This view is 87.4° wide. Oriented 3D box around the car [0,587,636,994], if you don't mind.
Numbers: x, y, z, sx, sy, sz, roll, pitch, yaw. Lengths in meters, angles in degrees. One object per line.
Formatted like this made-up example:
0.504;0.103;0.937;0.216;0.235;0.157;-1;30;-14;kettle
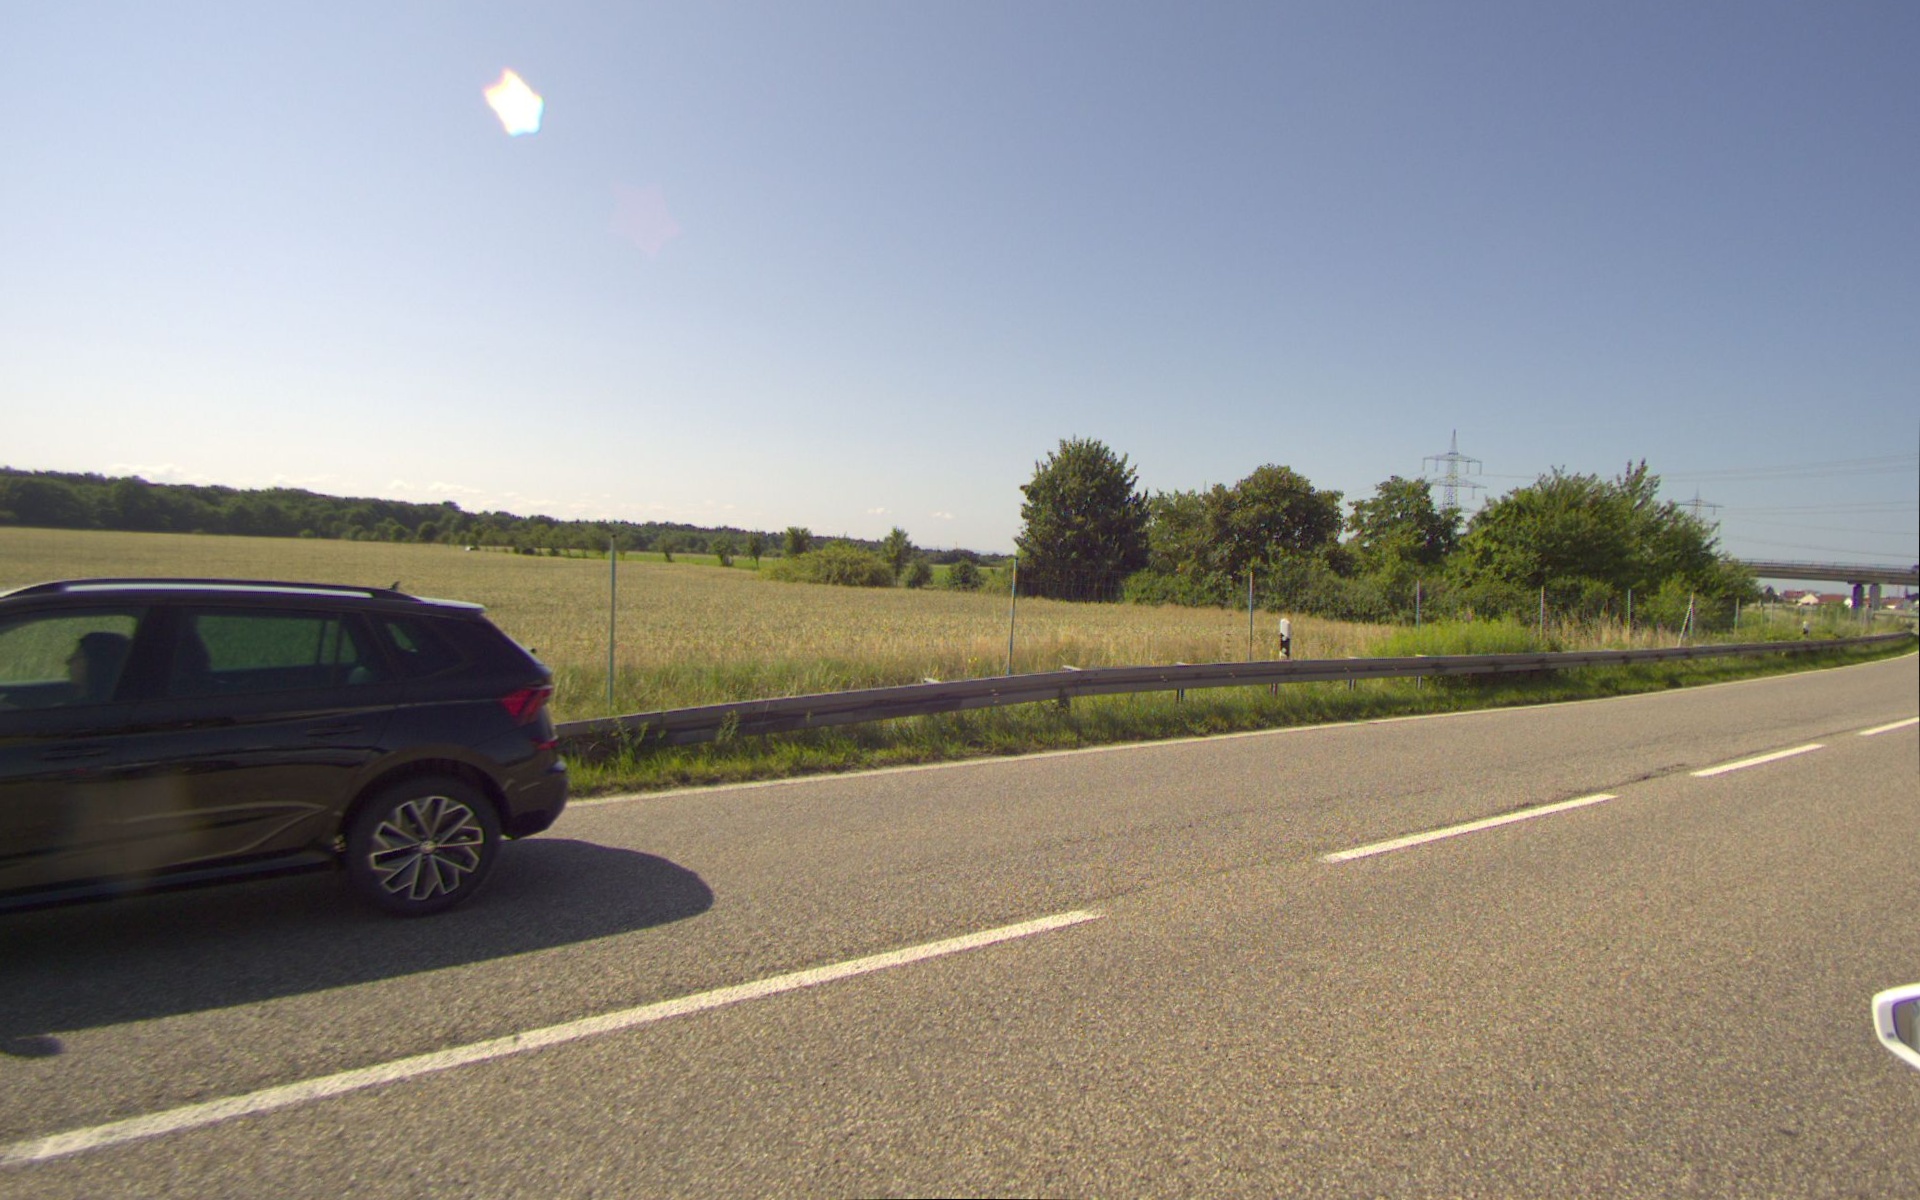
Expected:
-3.868;0.715;4.718;4.122;1.528;1.816;1;0;-36;car
